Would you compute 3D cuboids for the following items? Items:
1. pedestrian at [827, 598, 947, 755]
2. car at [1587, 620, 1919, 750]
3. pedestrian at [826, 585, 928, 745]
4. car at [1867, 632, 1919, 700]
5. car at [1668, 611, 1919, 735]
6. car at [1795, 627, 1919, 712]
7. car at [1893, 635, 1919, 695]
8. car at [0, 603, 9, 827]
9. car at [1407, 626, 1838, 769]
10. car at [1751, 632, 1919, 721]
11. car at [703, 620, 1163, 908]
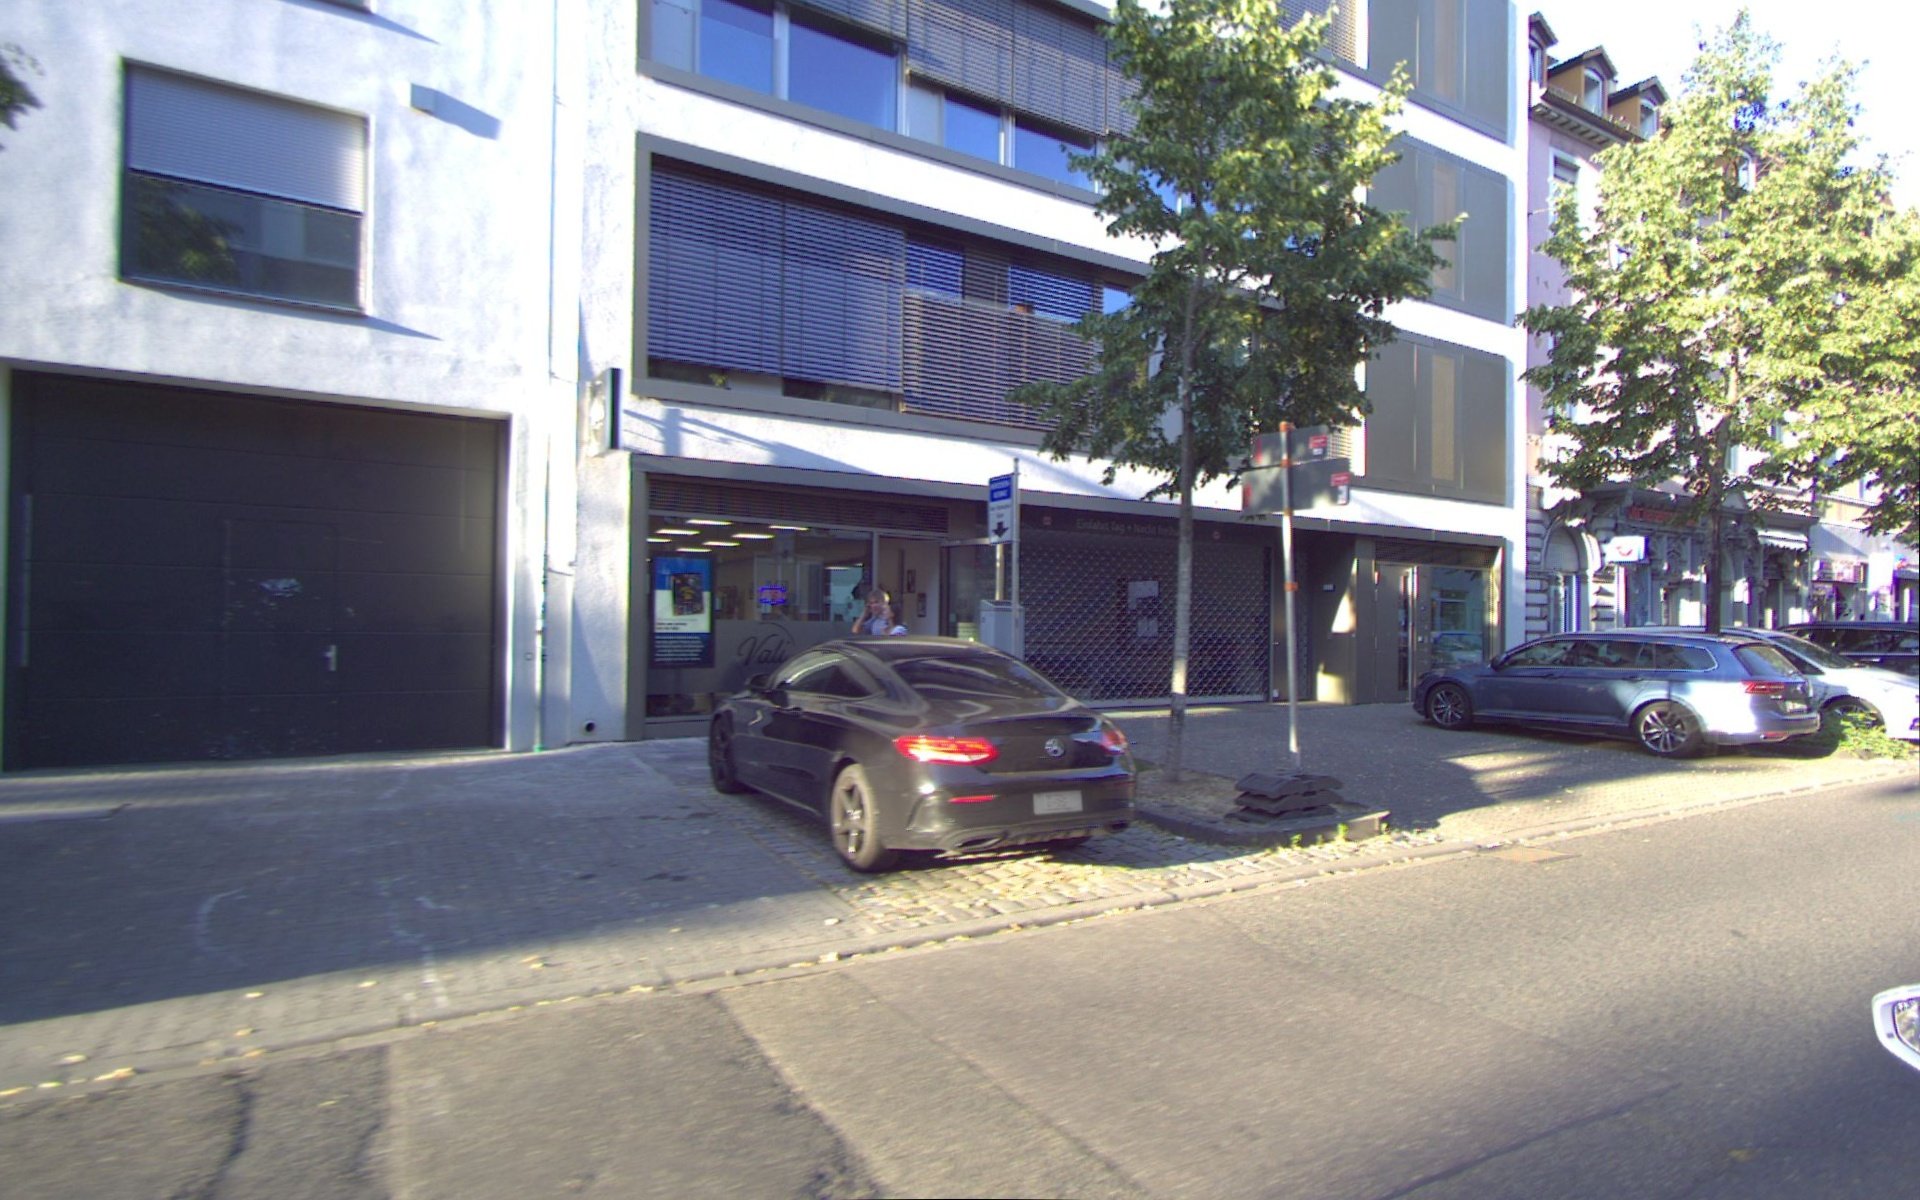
[{"bbox_3d":[-0.803,0.805,11.002,1.082,1.624,0.715,1,1,-30],"label":"pedestrian"},{"bbox_3d":[12.385,1.164,15.369,1.868,1.617,4.384,1,0,-31],"label":"car"},{"bbox_3d":[-0.971,0.730,11.691,0.923,1.773,0.715,1,1,-30],"label":"pedestrian"},{"bbox_3d":[22.278,1.470,21.663,1.786,1.463,3.717,1,-1,-32],"label":"car"},{"bbox_3d":[14.371,1.120,16.464,1.869,1.796,4.126,1,-1,-32],"label":"car"},{"bbox_3d":[18.537,1.339,19.262,1.696,1.522,3.538,1,-1,-31],"label":"car"},{"bbox_3d":[24.694,1.569,23.331,1.820,1.422,4.080,1,-1,-28],"label":"car"},{"bbox_3d":[-6.080,0.734,4.549,1.725,1.504,4.251,1,-1,-32],"label":"car"},{"bbox_3d":[8.532,1.137,13.395,1.726,1.504,4.521,1,-1,-33],"label":"car"},{"bbox_3d":[16.868,1.353,17.814,1.747,1.440,4.126,1,-1,-32],"label":"car"},{"bbox_3d":[-0.529,0.932,7.669,1.723,1.504,4.255,1,-1,-30],"label":"car"}]
